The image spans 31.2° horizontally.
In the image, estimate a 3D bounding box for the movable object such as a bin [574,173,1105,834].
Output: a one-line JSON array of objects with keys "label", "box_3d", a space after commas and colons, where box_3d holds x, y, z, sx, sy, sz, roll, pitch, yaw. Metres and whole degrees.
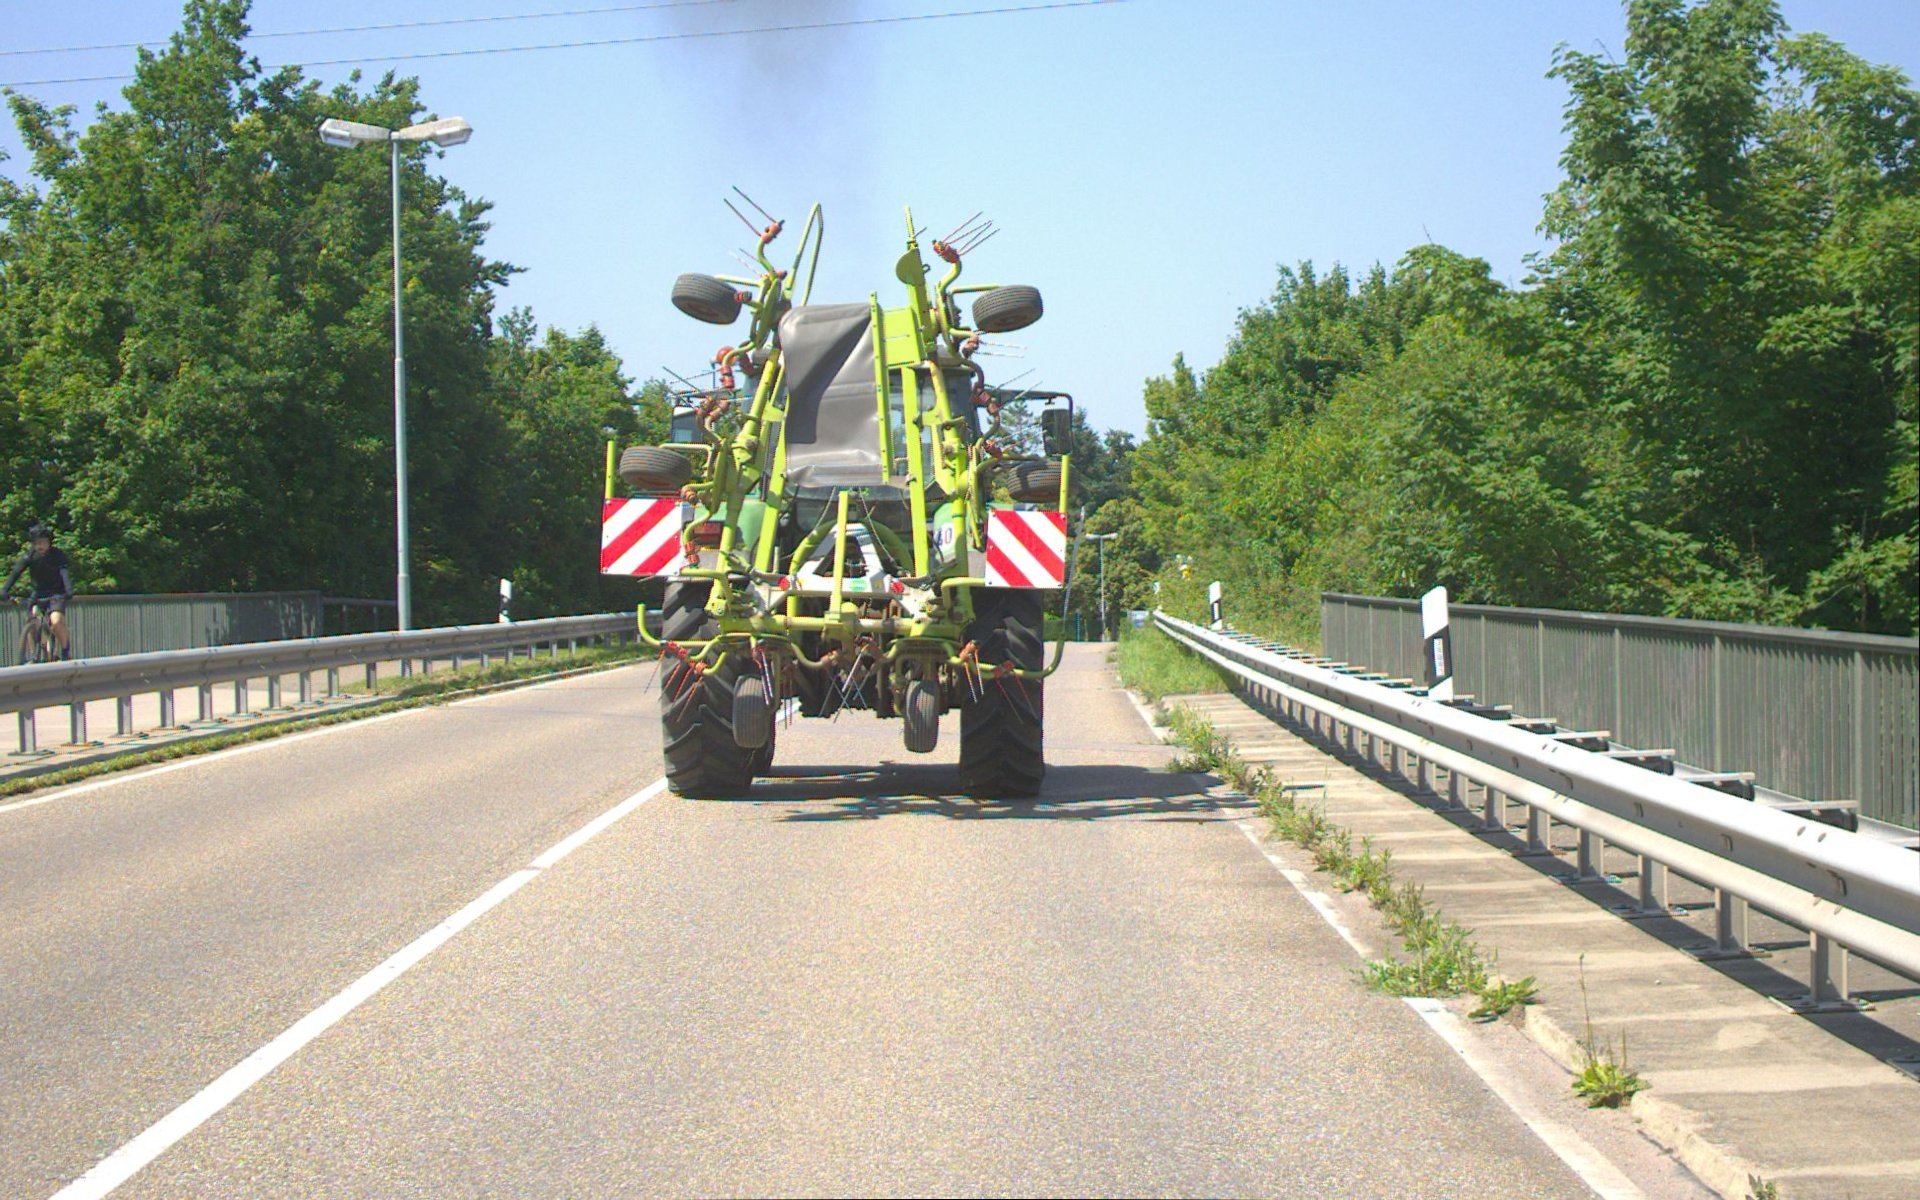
[{"label": "movable object such as a bin", "box_3d": [-0.673, -0.566, 20.717, 2.755, 3.432, 5.670, 0, 1, -1]}]

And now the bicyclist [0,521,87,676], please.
[{"label": "bicyclist", "box_3d": [-9.758, -0.024, 36.518, 0.765, 1.628, 0.895, 0, 1, -2]}]

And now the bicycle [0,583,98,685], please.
[{"label": "bicycle", "box_3d": [-9.755, 0.346, 36.541, 0.677, 0.998, 2.119, -1, 2, -2]}]

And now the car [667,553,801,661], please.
[{"label": "car", "box_3d": [-3.277, 0.081, 50.351, 1.667, 1.512, 3.666, 0, 0, 1]}]
